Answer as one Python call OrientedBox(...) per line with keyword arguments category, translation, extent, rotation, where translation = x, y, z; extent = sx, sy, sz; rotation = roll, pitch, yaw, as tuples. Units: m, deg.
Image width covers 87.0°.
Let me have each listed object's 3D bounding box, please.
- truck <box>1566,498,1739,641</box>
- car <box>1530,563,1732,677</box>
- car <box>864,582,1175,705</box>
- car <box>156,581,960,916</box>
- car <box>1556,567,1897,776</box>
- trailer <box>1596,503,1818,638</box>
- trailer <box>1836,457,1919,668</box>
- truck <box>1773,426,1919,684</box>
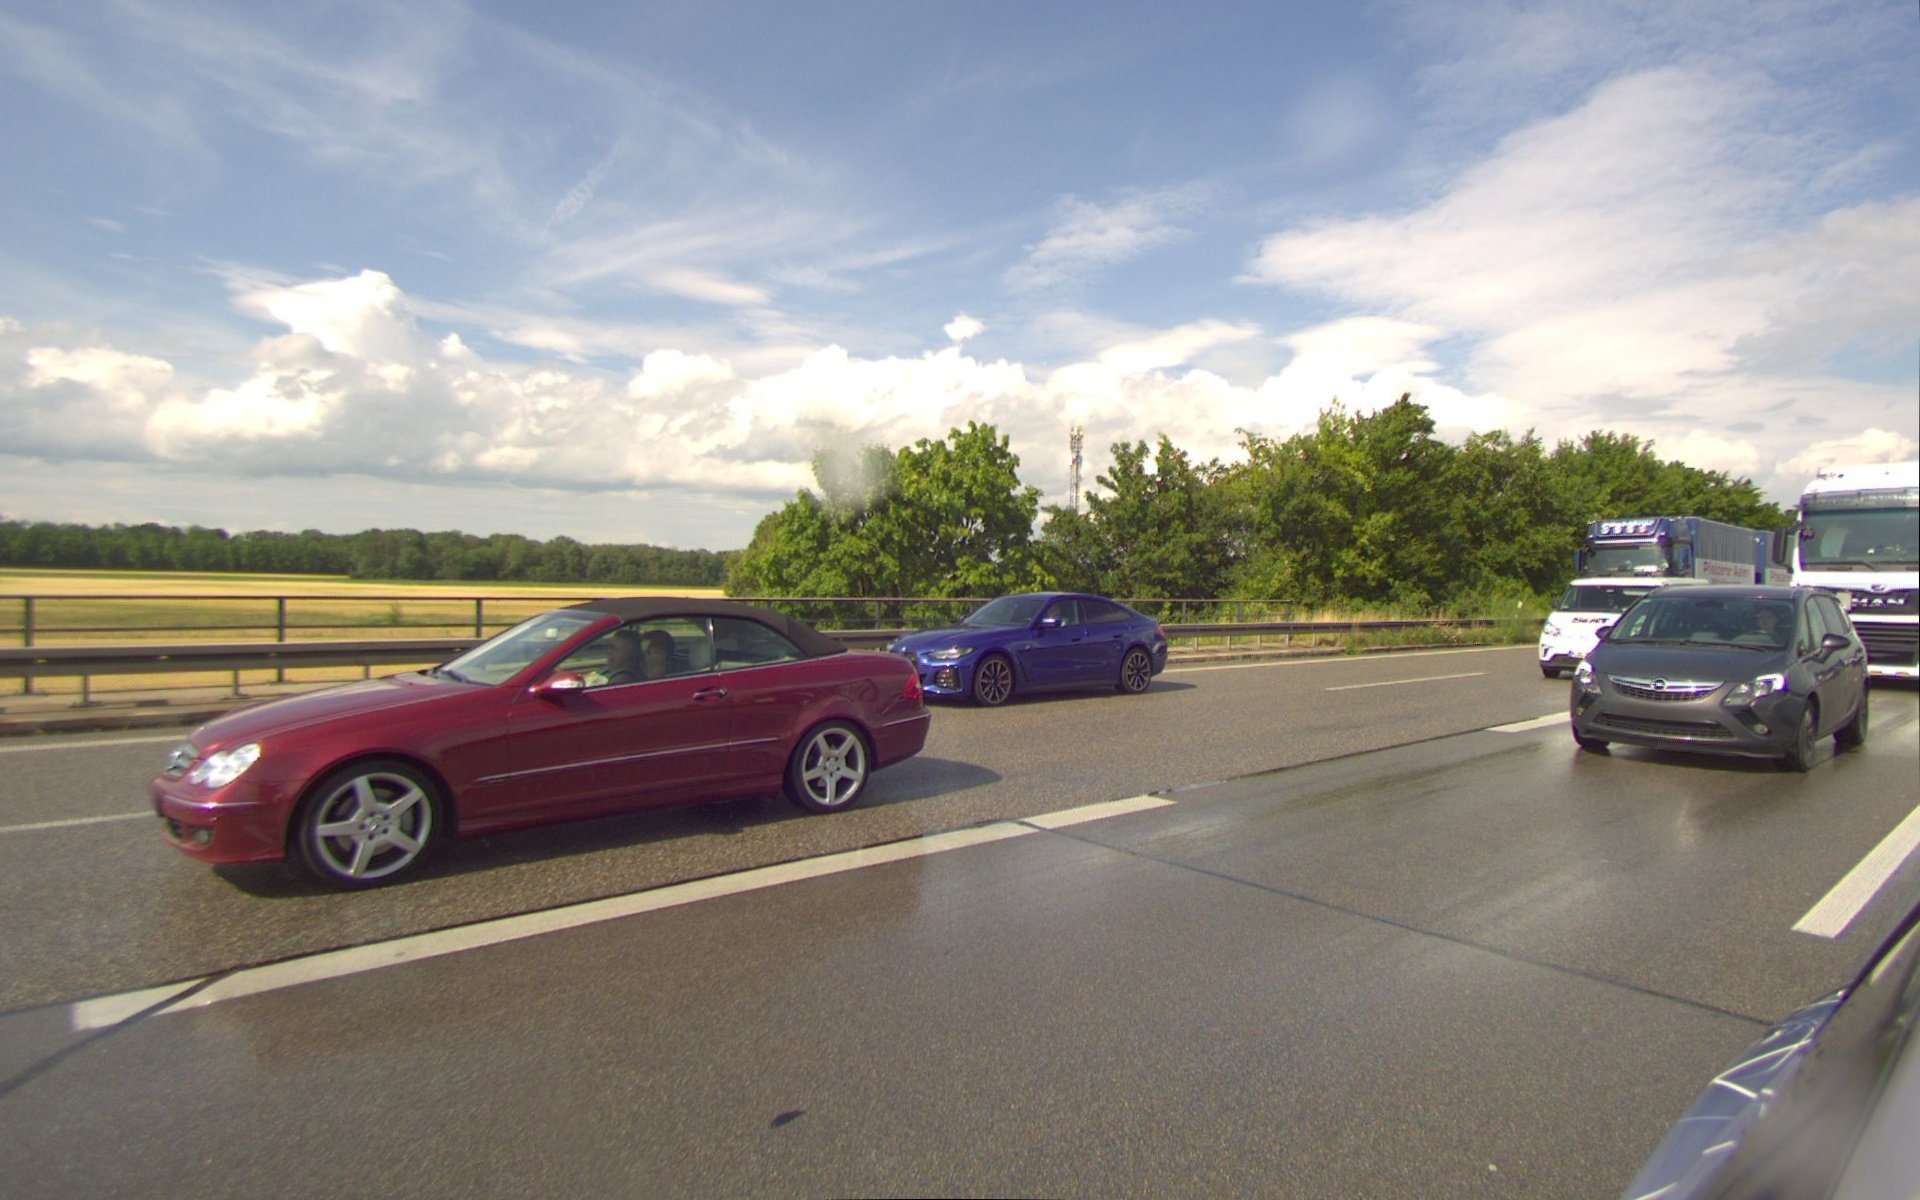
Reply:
OrientedBox(category="truck", translation=(21.595, -0.906, 31.472), extent=(5.765, 4.003, 3.110), rotation=(-1, 1, -41))
OrientedBox(category="car", translation=(12.940, 0.308, 19.378), extent=(5.077, 1.909, 1.953), rotation=(0, 1, -41))
OrientedBox(category="car", translation=(0.962, 0.502, 14.327), extent=(4.427, 1.481, 1.790), rotation=(0, 0, -41))
OrientedBox(category="car", translation=(-2.254, 0.624, 6.420), extent=(4.431, 1.428, 1.755), rotation=(0, 0, -40))
OrientedBox(category="car", translation=(7.866, 0.549, 10.227), extent=(4.319, 1.668, 1.882), rotation=(0, 1, -41))
OrientedBox(category="trailer", translation=(27.506, -1.004, 36.660), extent=(16.057, 4.003, 3.110), rotation=(-1, 1, -41))
OrientedBox(category="trailer", translation=(23.346, -0.770, 23.393), extent=(11.331, 4.158, 2.789), rotation=(0, 0, -39))
OrientedBox(category="truck", translation=(18.008, -0.745, 19.012), extent=(7.311, 4.158, 2.816), rotation=(0, 0, -39))
